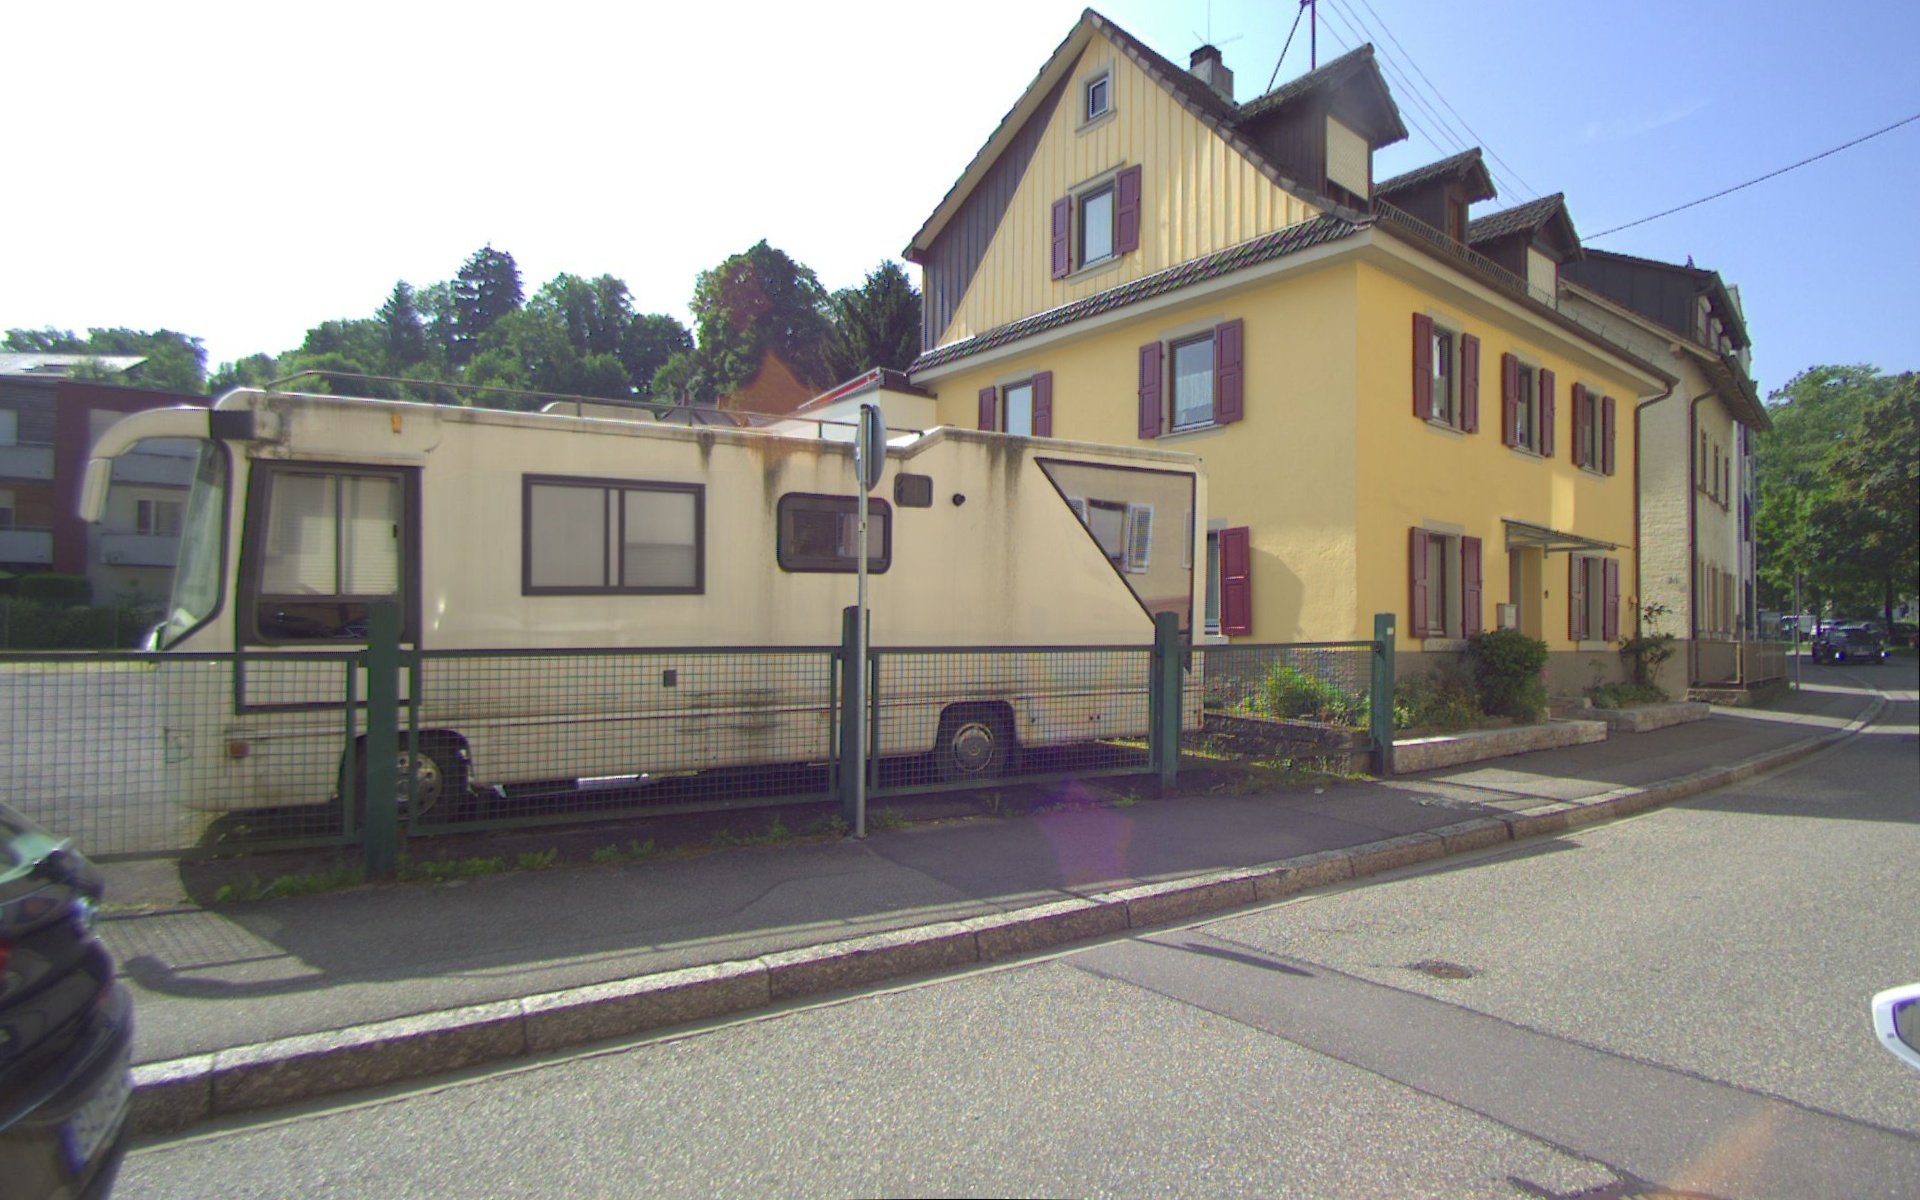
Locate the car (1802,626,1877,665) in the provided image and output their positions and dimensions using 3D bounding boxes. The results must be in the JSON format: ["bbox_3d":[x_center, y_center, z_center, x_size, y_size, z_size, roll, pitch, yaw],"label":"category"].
[{"bbox_3d":[38.354,1.971,43.898,1.799,1.557,3.990,-5,-4,33],"label":"car"}]

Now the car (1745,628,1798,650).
[{"bbox_3d":[58.493,2.806,72.459,1.644,1.487,3.412,0,-1,13],"label":"car"}]

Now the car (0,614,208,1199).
[{"bbox_3d":[-3.473,0.823,1.153,3.981,1.471,1.740,0,-5,-31],"label":"car"}]

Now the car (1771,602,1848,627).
[{"bbox_3d":[67.081,1.154,79.335,4.612,1.879,1.998,0,-1,-7],"label":"car"}]

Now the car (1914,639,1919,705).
[{"bbox_3d":[14.559,1.209,13.625,4.220,1.468,1.647,1,-5,-38],"label":"car"}]

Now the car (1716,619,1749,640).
[{"bbox_3d":[60.056,2.257,78.167,1.720,1.572,3.743,0,-1,33],"label":"car"}]

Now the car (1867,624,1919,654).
[{"bbox_3d":[54.146,2.207,57.795,1.681,1.563,3.998,-1,-1,23],"label":"car"}]

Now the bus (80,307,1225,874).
[{"bbox_3d":[-1.865,0.006,9.252,8.928,3.271,2.807,1,0,-30],"label":"bus"}]
